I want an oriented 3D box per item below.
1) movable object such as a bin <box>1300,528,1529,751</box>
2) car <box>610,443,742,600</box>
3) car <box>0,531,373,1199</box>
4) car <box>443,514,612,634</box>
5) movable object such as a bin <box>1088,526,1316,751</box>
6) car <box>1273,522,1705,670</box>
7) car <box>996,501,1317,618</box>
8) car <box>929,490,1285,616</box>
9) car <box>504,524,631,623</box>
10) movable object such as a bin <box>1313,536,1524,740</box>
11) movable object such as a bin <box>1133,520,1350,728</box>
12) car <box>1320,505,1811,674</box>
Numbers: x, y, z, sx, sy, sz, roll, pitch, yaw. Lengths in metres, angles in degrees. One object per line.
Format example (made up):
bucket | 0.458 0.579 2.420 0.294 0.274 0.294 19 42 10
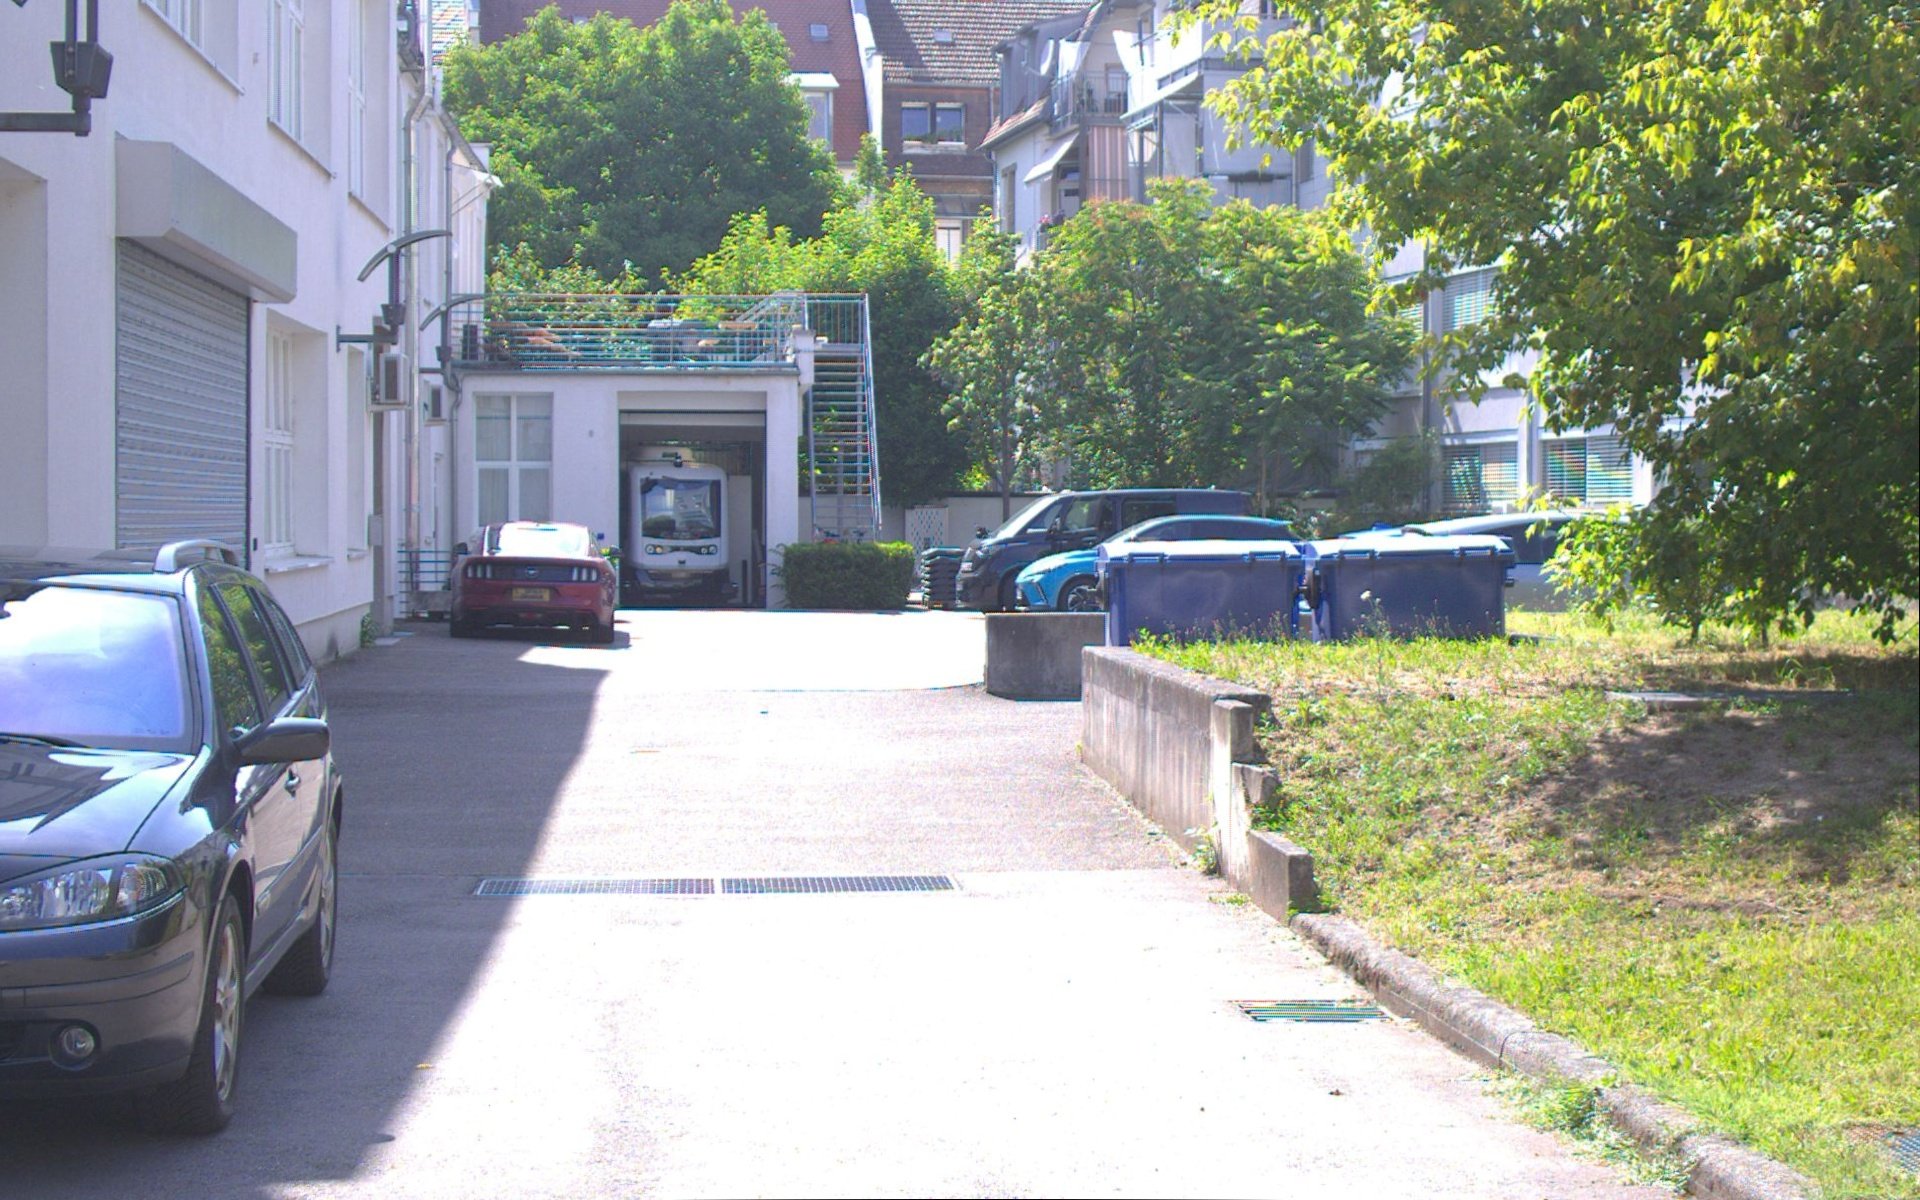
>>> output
movable object such as a bin | 2.819 0.227 21.469 1.247 1.336 1.142 0 1 -2
car | -5.015 -1.378 61.135 2.174 2.598 6.735 -1 1 -4
car | -2.771 0.550 9.570 1.836 1.437 4.430 2 0 -5
car | -5.141 -0.348 41.264 1.851 1.315 4.001 1 1 -5
movable object such as a bin | 1.486 0.231 21.385 1.247 1.315 1.142 -2 0 -2
car | 5.251 -0.059 34.411 3.986 1.389 1.689 -1 2 -5
car | 2.759 -0.590 48.846 4.228 1.527 2.001 -1 2 -8
car | 2.216 -0.742 52.067 4.950 1.761 2.097 -2 3 -17
car | -5.474 -0.397 48.260 1.614 1.291 3.759 -1 2 -4
movable object such as a bin | 3.101 0.241 23.368 1.155 1.332 1.142 -1 1 -7
movable object such as a bin | 1.887 0.145 23.210 1.247 1.350 1.129 -1 1 -7
car | 5.403 -0.122 30.932 3.986 1.422 1.812 -1 2 -7
